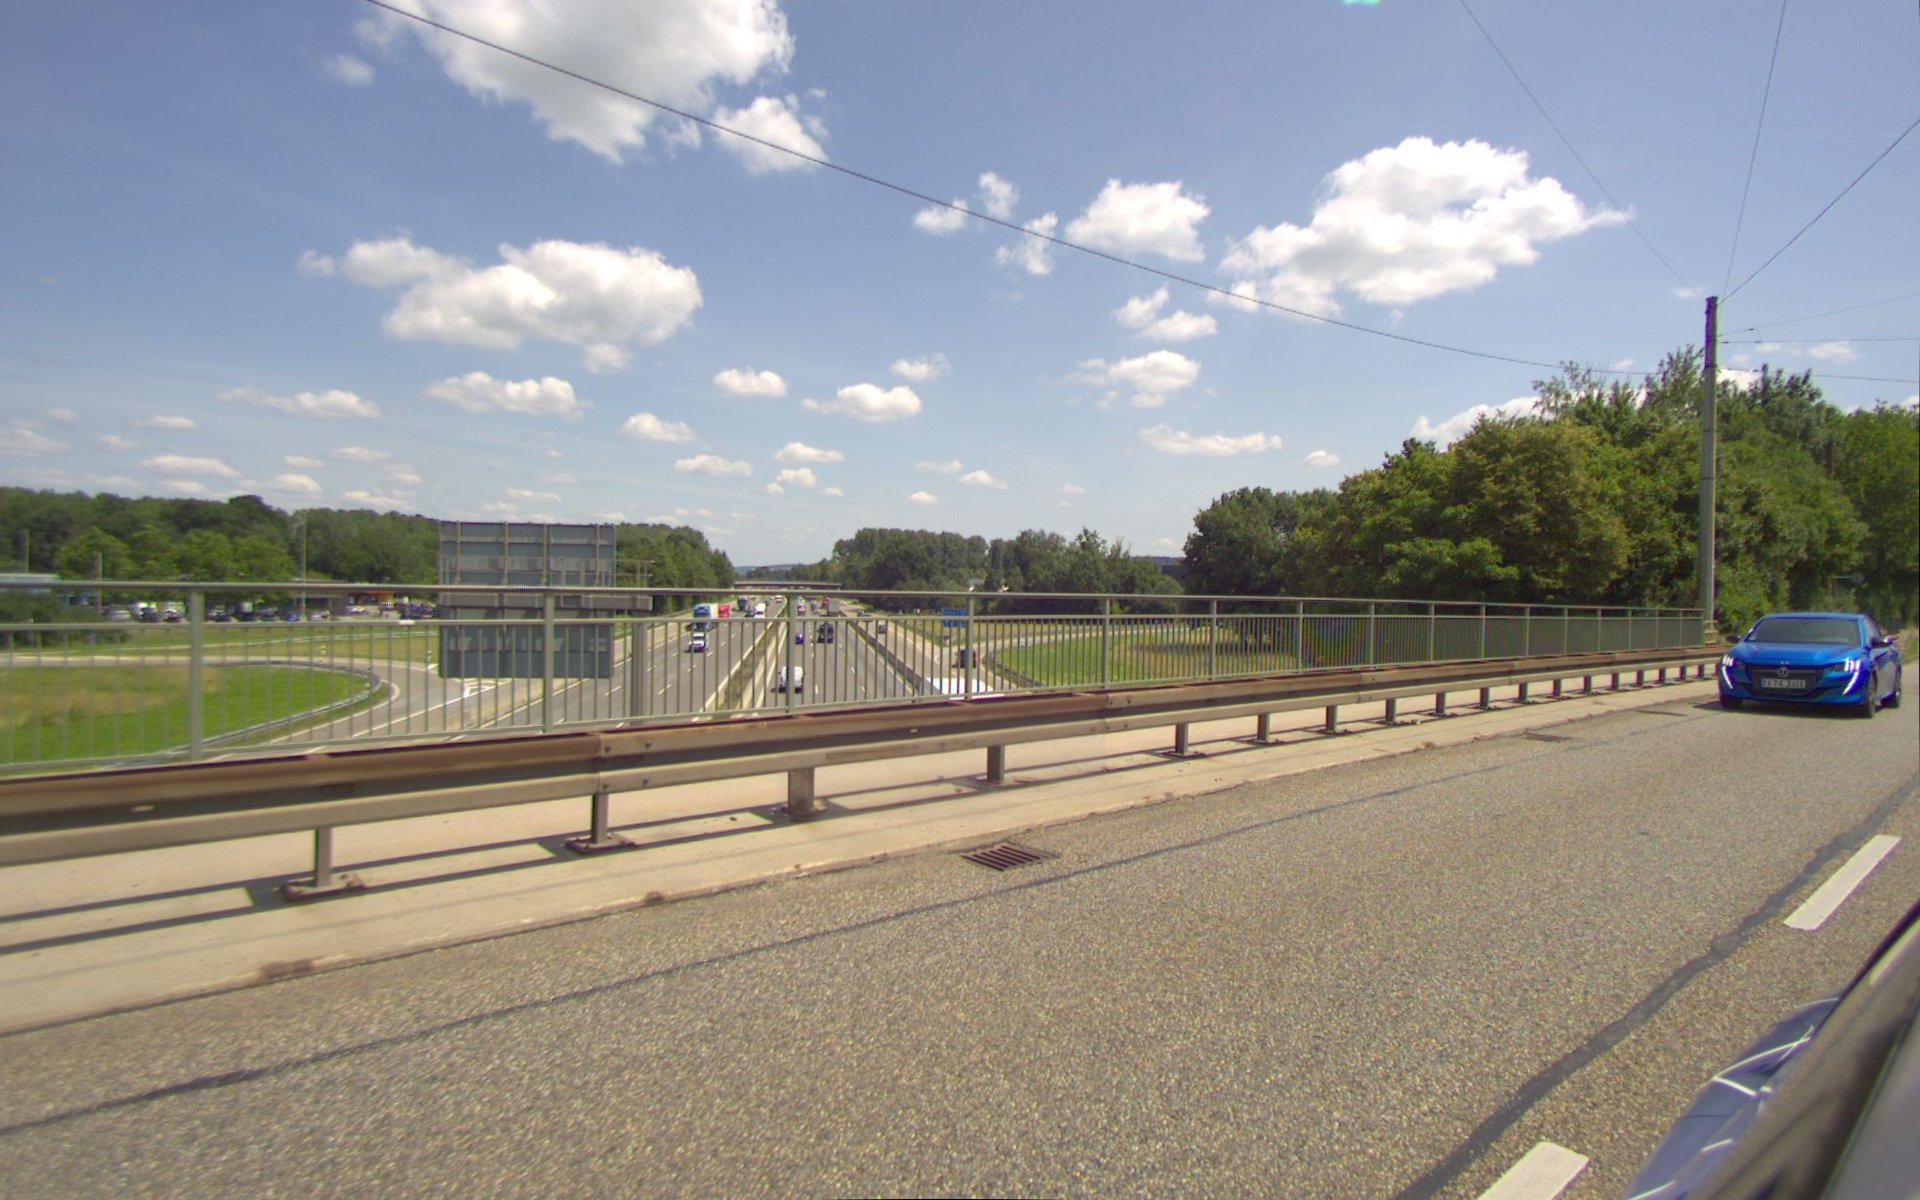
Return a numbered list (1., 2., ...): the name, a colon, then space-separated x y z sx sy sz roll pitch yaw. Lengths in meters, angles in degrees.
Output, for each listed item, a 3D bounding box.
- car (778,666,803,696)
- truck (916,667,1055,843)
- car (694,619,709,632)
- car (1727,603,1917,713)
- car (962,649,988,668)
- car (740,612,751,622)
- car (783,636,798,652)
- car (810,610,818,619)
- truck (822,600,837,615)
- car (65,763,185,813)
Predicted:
1. car: -12.592 5.984 74.993 1.780 1.883 4.006 0 0 -10
2. truck: 0.517 5.501 40.165 2.774 4.271 14.814 -1 1 -9
3. car: -40.961 4.062 160.485 1.921 1.951 4.003 -2 -3 -9
4. car: 12.957 0.772 15.153 3.678 1.423 1.658 0 0 -41
5. car: 1.492 5.955 102.870 1.963 1.817 4.003 -2 -3 -8
6. car: -46.247 3.661 218.154 1.921 1.951 4.003 -2 -3 -9
7. car: -22.001 5.708 130.986 1.789 1.817 4.004 -2 -3 -11
8. car: -36.460 3.632 252.652 1.921 1.951 4.003 -2 -3 -9
9. truck: -30.437 1.704 236.228 3.300 3.483 6.963 0 0 -8
10. car: -29.897 6.707 36.394 1.633 1.187 3.919 -2 -3 -11
